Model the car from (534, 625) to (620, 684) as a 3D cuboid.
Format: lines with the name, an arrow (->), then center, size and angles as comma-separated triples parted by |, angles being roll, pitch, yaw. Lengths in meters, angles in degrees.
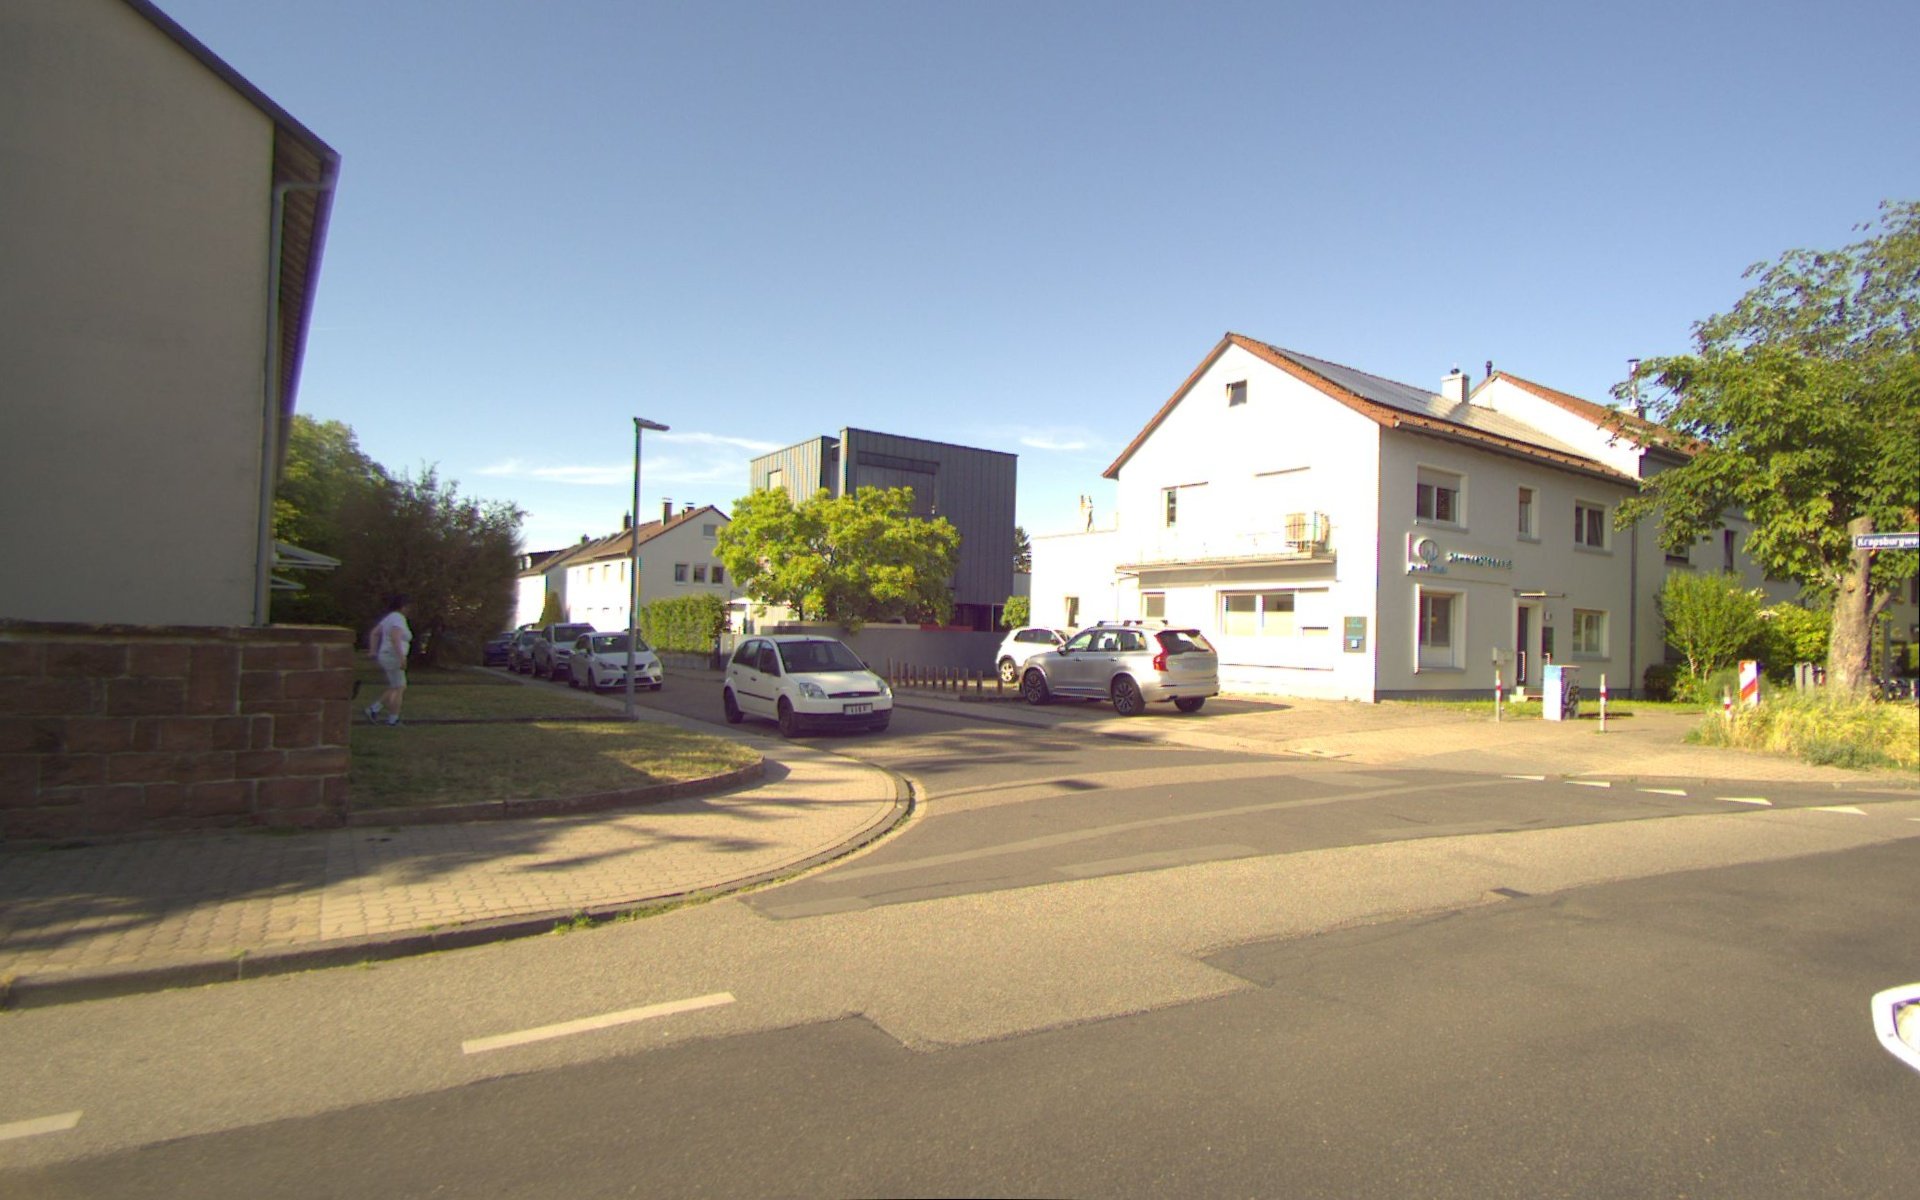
car -> -11.585, 1.581, 30.259 | 1.848, 1.635, 3.749 | 1, -1, -30

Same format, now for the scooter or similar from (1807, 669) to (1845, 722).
scooter or similar -> 17.093, 1.880, 19.830 | 0.987, 1.014, 0.333 | 3, -2, -35

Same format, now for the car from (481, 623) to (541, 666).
car -> -18.041, 1.756, 40.303 | 1.848, 1.635, 3.749 | 1, -1, -30

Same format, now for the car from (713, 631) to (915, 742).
car -> -2.428, 1.261, 15.986 | 1.850, 1.498, 3.746 | 1, -1, -32

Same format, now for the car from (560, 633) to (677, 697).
car -> -8.580, 1.544, 25.040 | 1.851, 1.415, 3.743 | 1, -1, -34

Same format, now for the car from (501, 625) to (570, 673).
car -> -15.320, 1.719, 36.189 | 1.848, 1.635, 3.749 | 1, -1, -30

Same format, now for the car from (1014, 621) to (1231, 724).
car -> 3.245, 1.382, 20.942 | 1.979, 1.862, 4.463 | -1, 0, -33

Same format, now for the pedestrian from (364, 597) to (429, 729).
pedestrian -> -7.065, 0.765, 12.594 | 0.633, 1.574, 0.778 | 1, 0, -34

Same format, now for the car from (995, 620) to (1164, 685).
car -> 3.090, 1.404, 26.820 | 1.981, 1.575, 4.469 | 2, -4, -37
